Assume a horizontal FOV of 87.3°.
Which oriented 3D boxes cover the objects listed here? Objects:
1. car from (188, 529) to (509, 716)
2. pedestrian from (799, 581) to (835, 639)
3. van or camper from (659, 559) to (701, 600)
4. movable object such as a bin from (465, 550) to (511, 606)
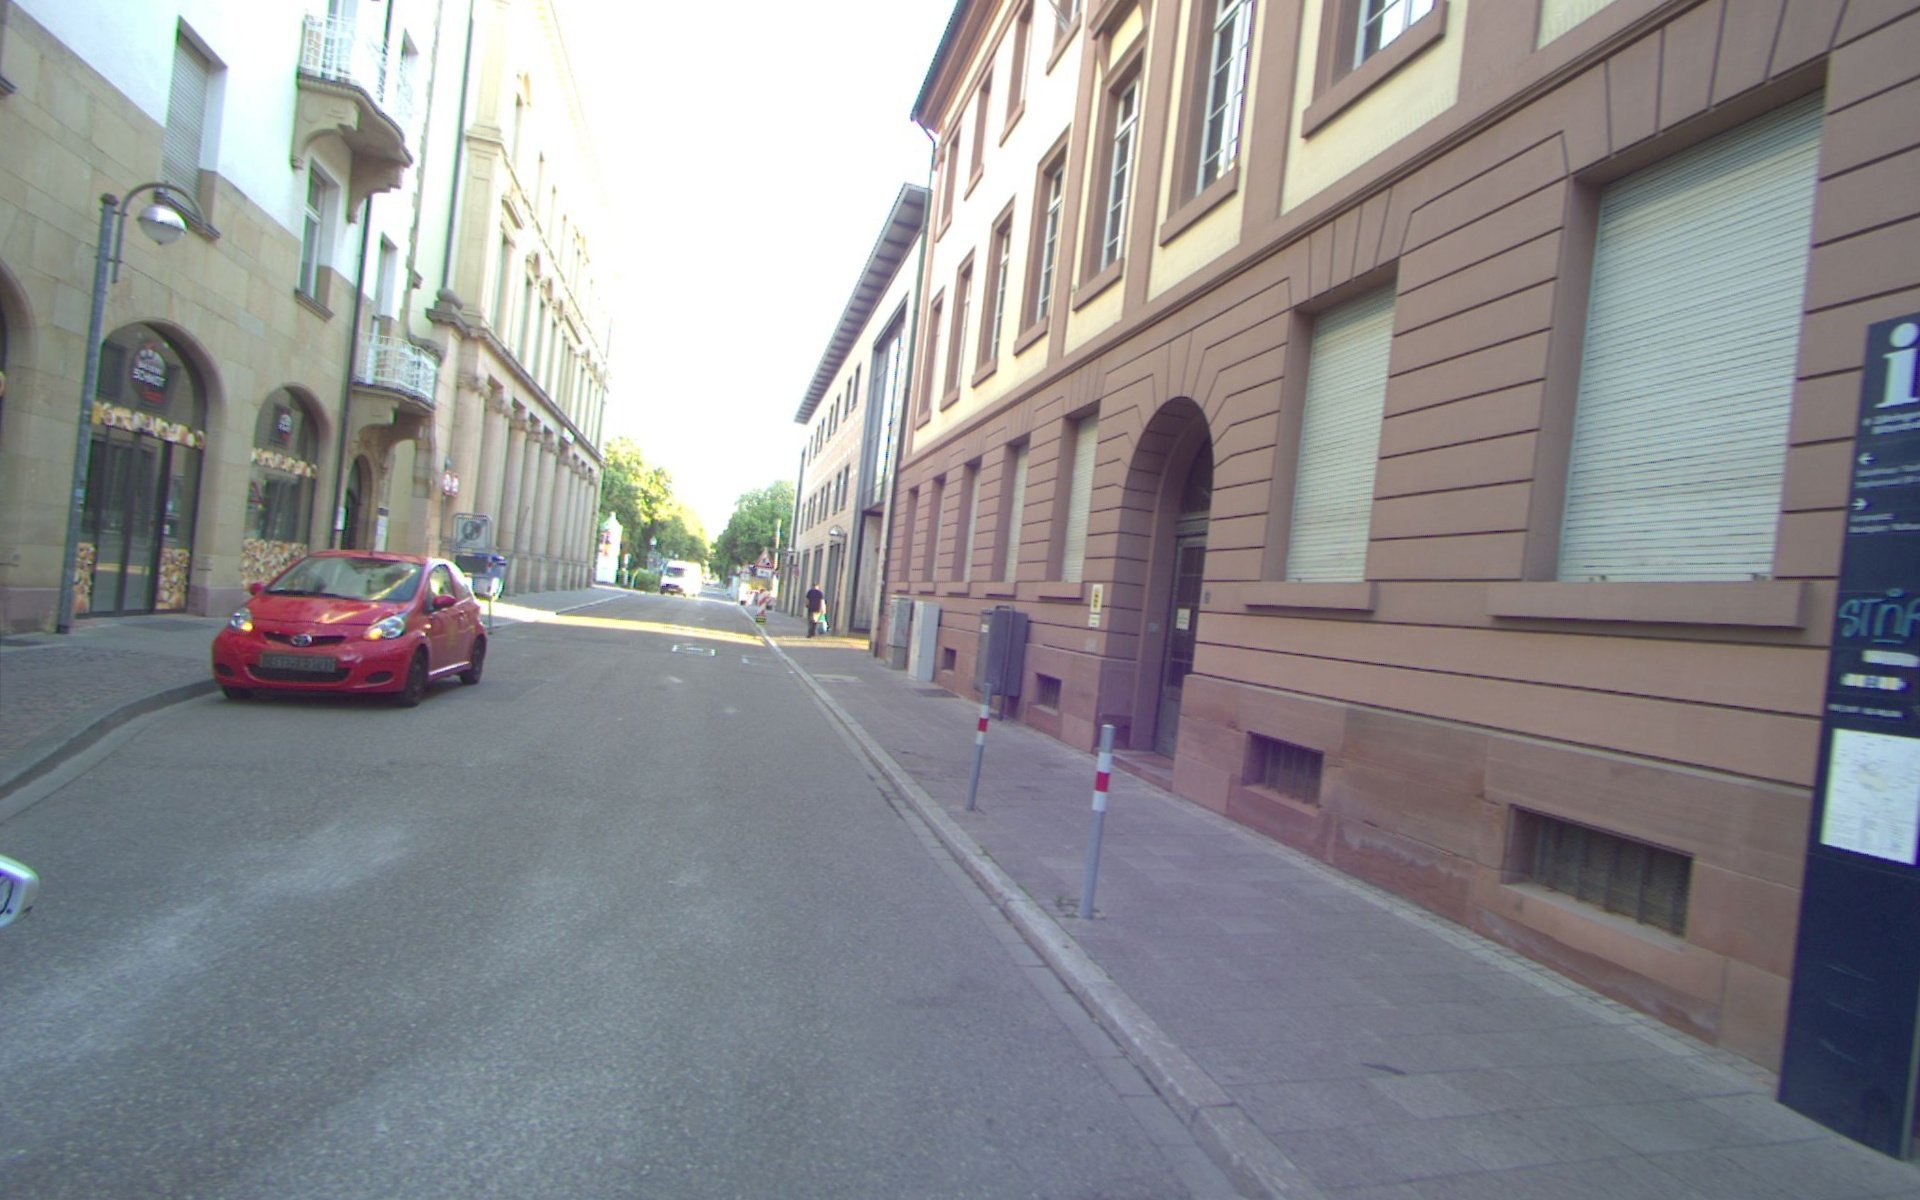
[{"bbox_3d":[-6.079,0.183,10.545,1.635,1.488,3.922,4,0,-13],"label":"car"},{"bbox_3d":[-4.665,0.331,32.809,0.987,1.827,0.879,2,1,-15],"label":"pedestrian"},{"bbox_3d":[-20.285,-1.481,73.118,2.190,2.616,6.358,7,0,-11],"label":"van or camper"},{"bbox_3d":[-13.954,-0.647,29.763,0.818,1.521,1.287,7,0,-13],"label":"movable object such as a bin"}]
